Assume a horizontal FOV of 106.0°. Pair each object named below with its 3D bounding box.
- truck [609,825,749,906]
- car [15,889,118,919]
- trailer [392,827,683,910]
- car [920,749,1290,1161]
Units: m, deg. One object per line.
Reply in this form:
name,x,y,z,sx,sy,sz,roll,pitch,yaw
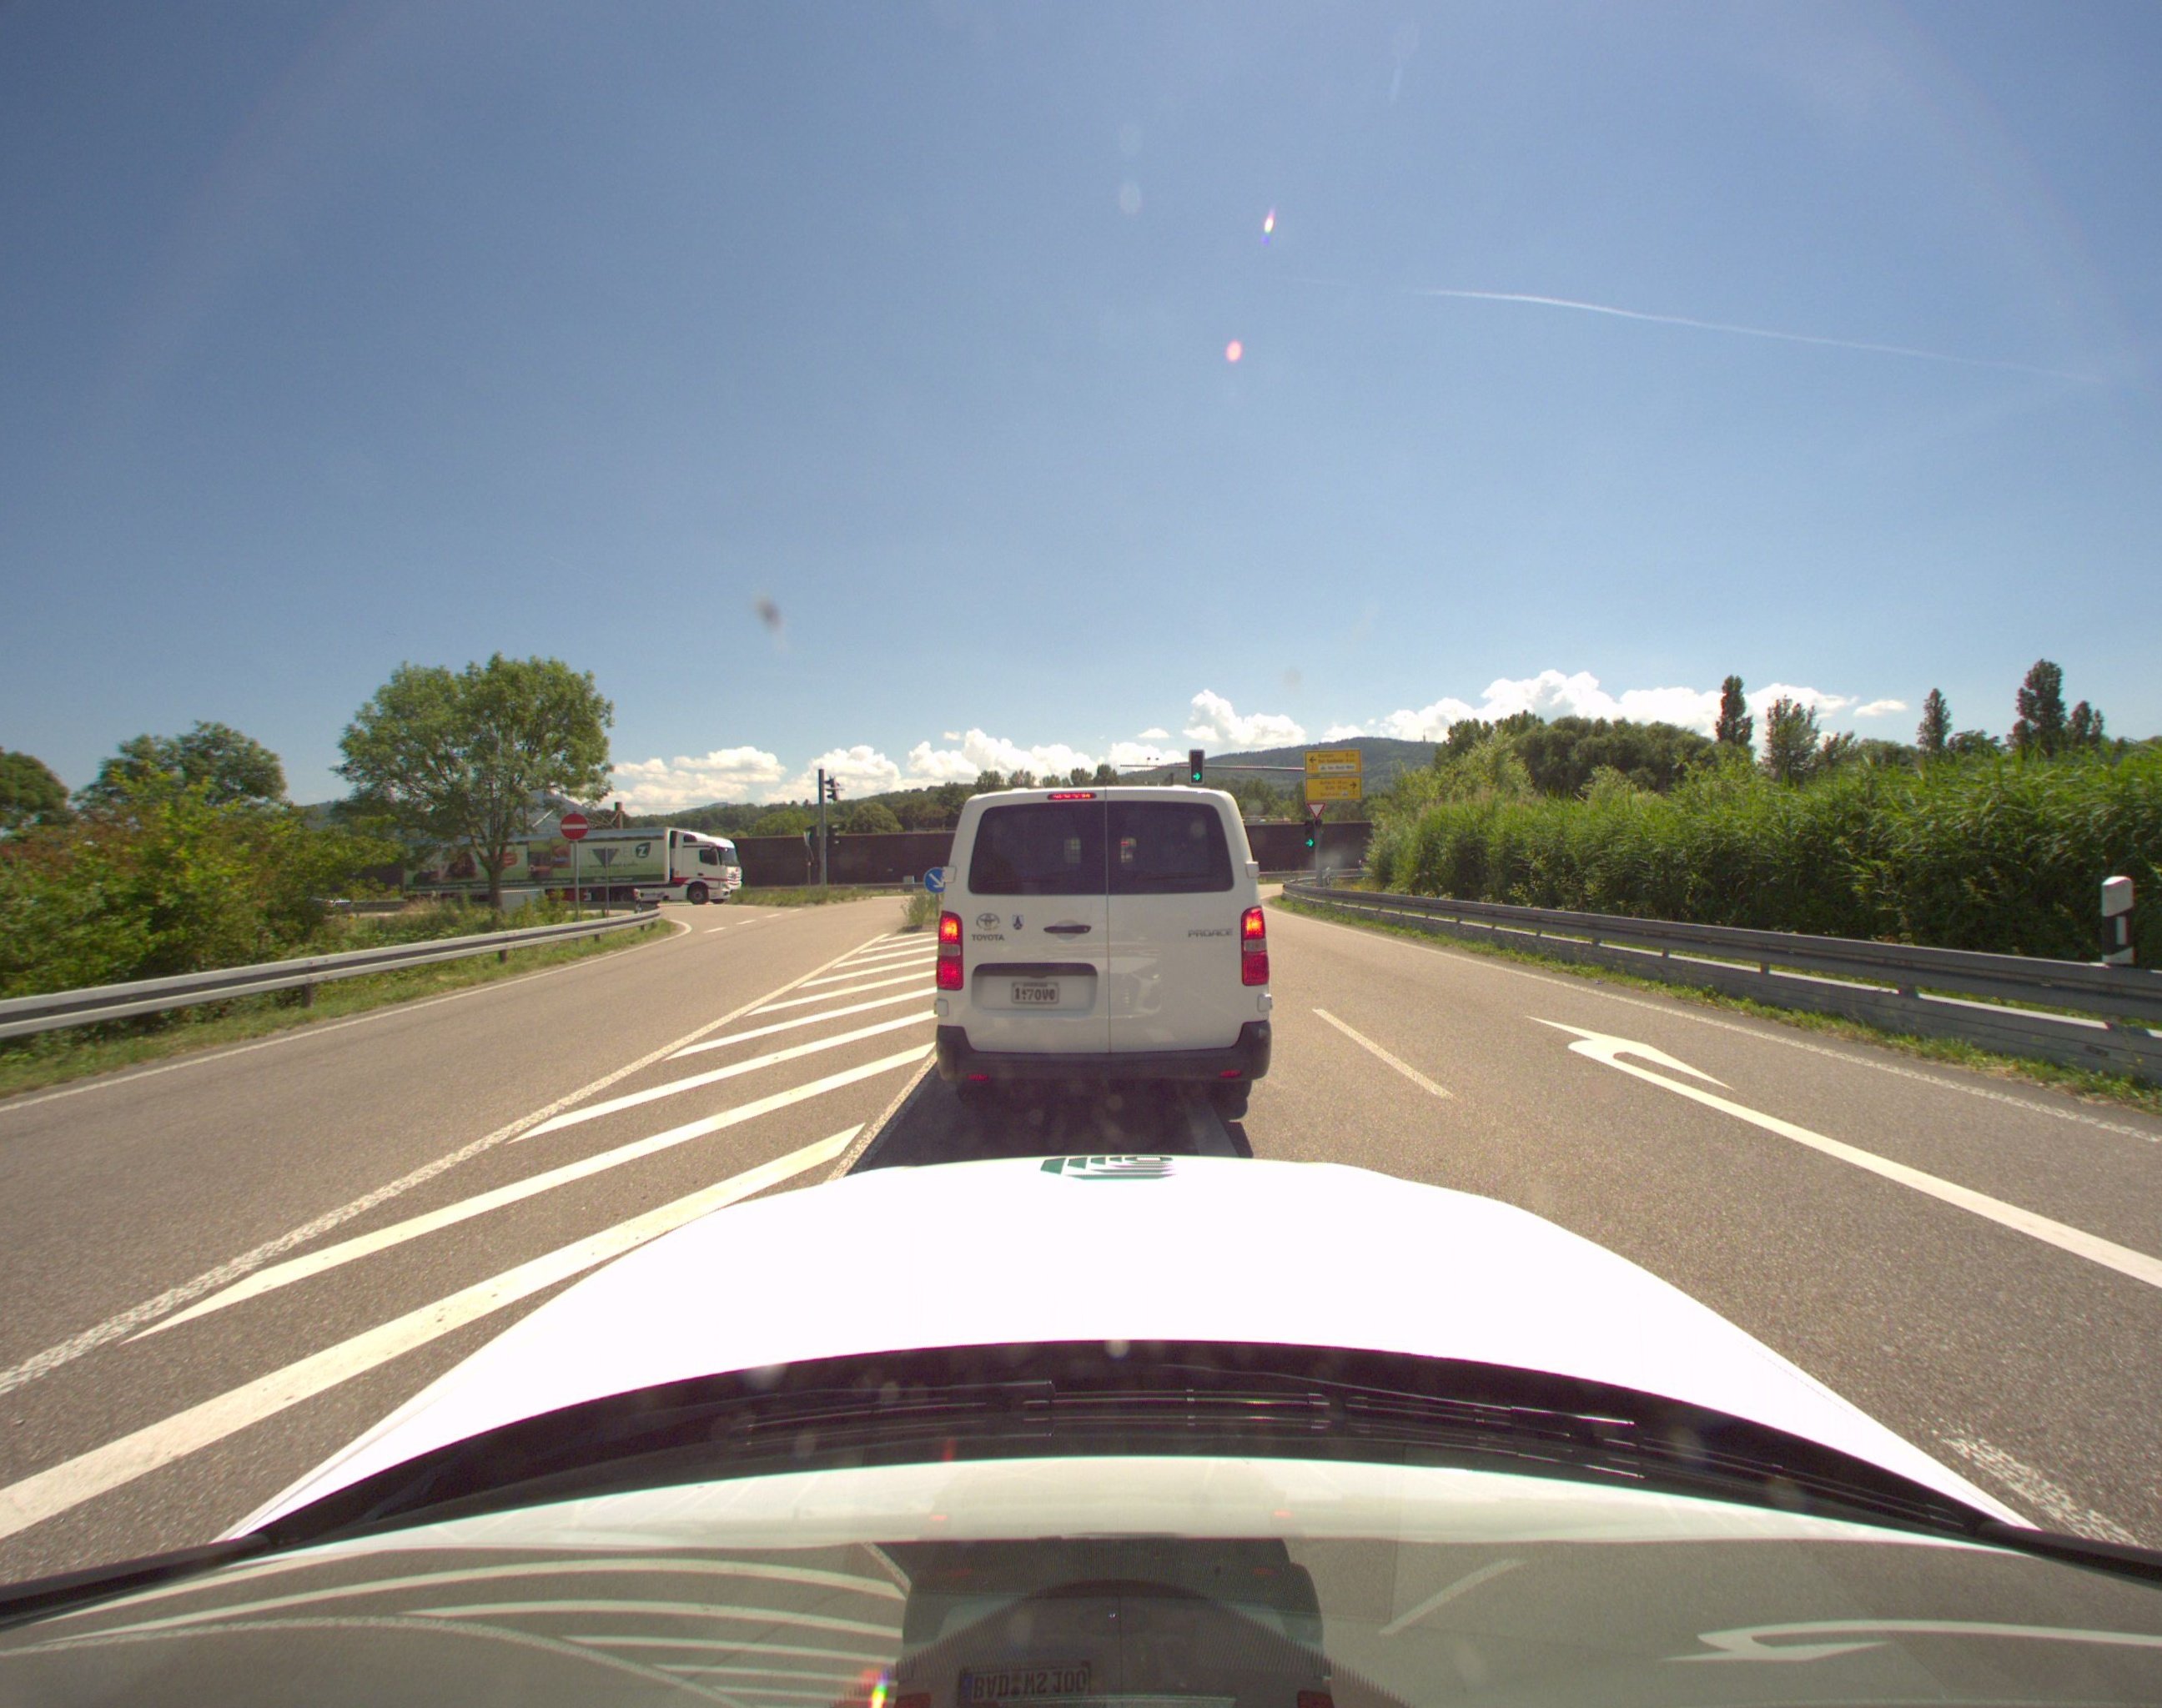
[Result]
truck,-20.970,0.601,42.795,5.746,3.954,3.062,-1,-1,0
car,-53.909,2.651,43.304,3.462,1.464,1.554,-1,-1,0
trailer,-28.228,0.740,42.737,13.098,3.954,3.061,-1,-1,0
car,0.177,0.519,6.064,1.808,2.017,4.001,-1,-1,2
